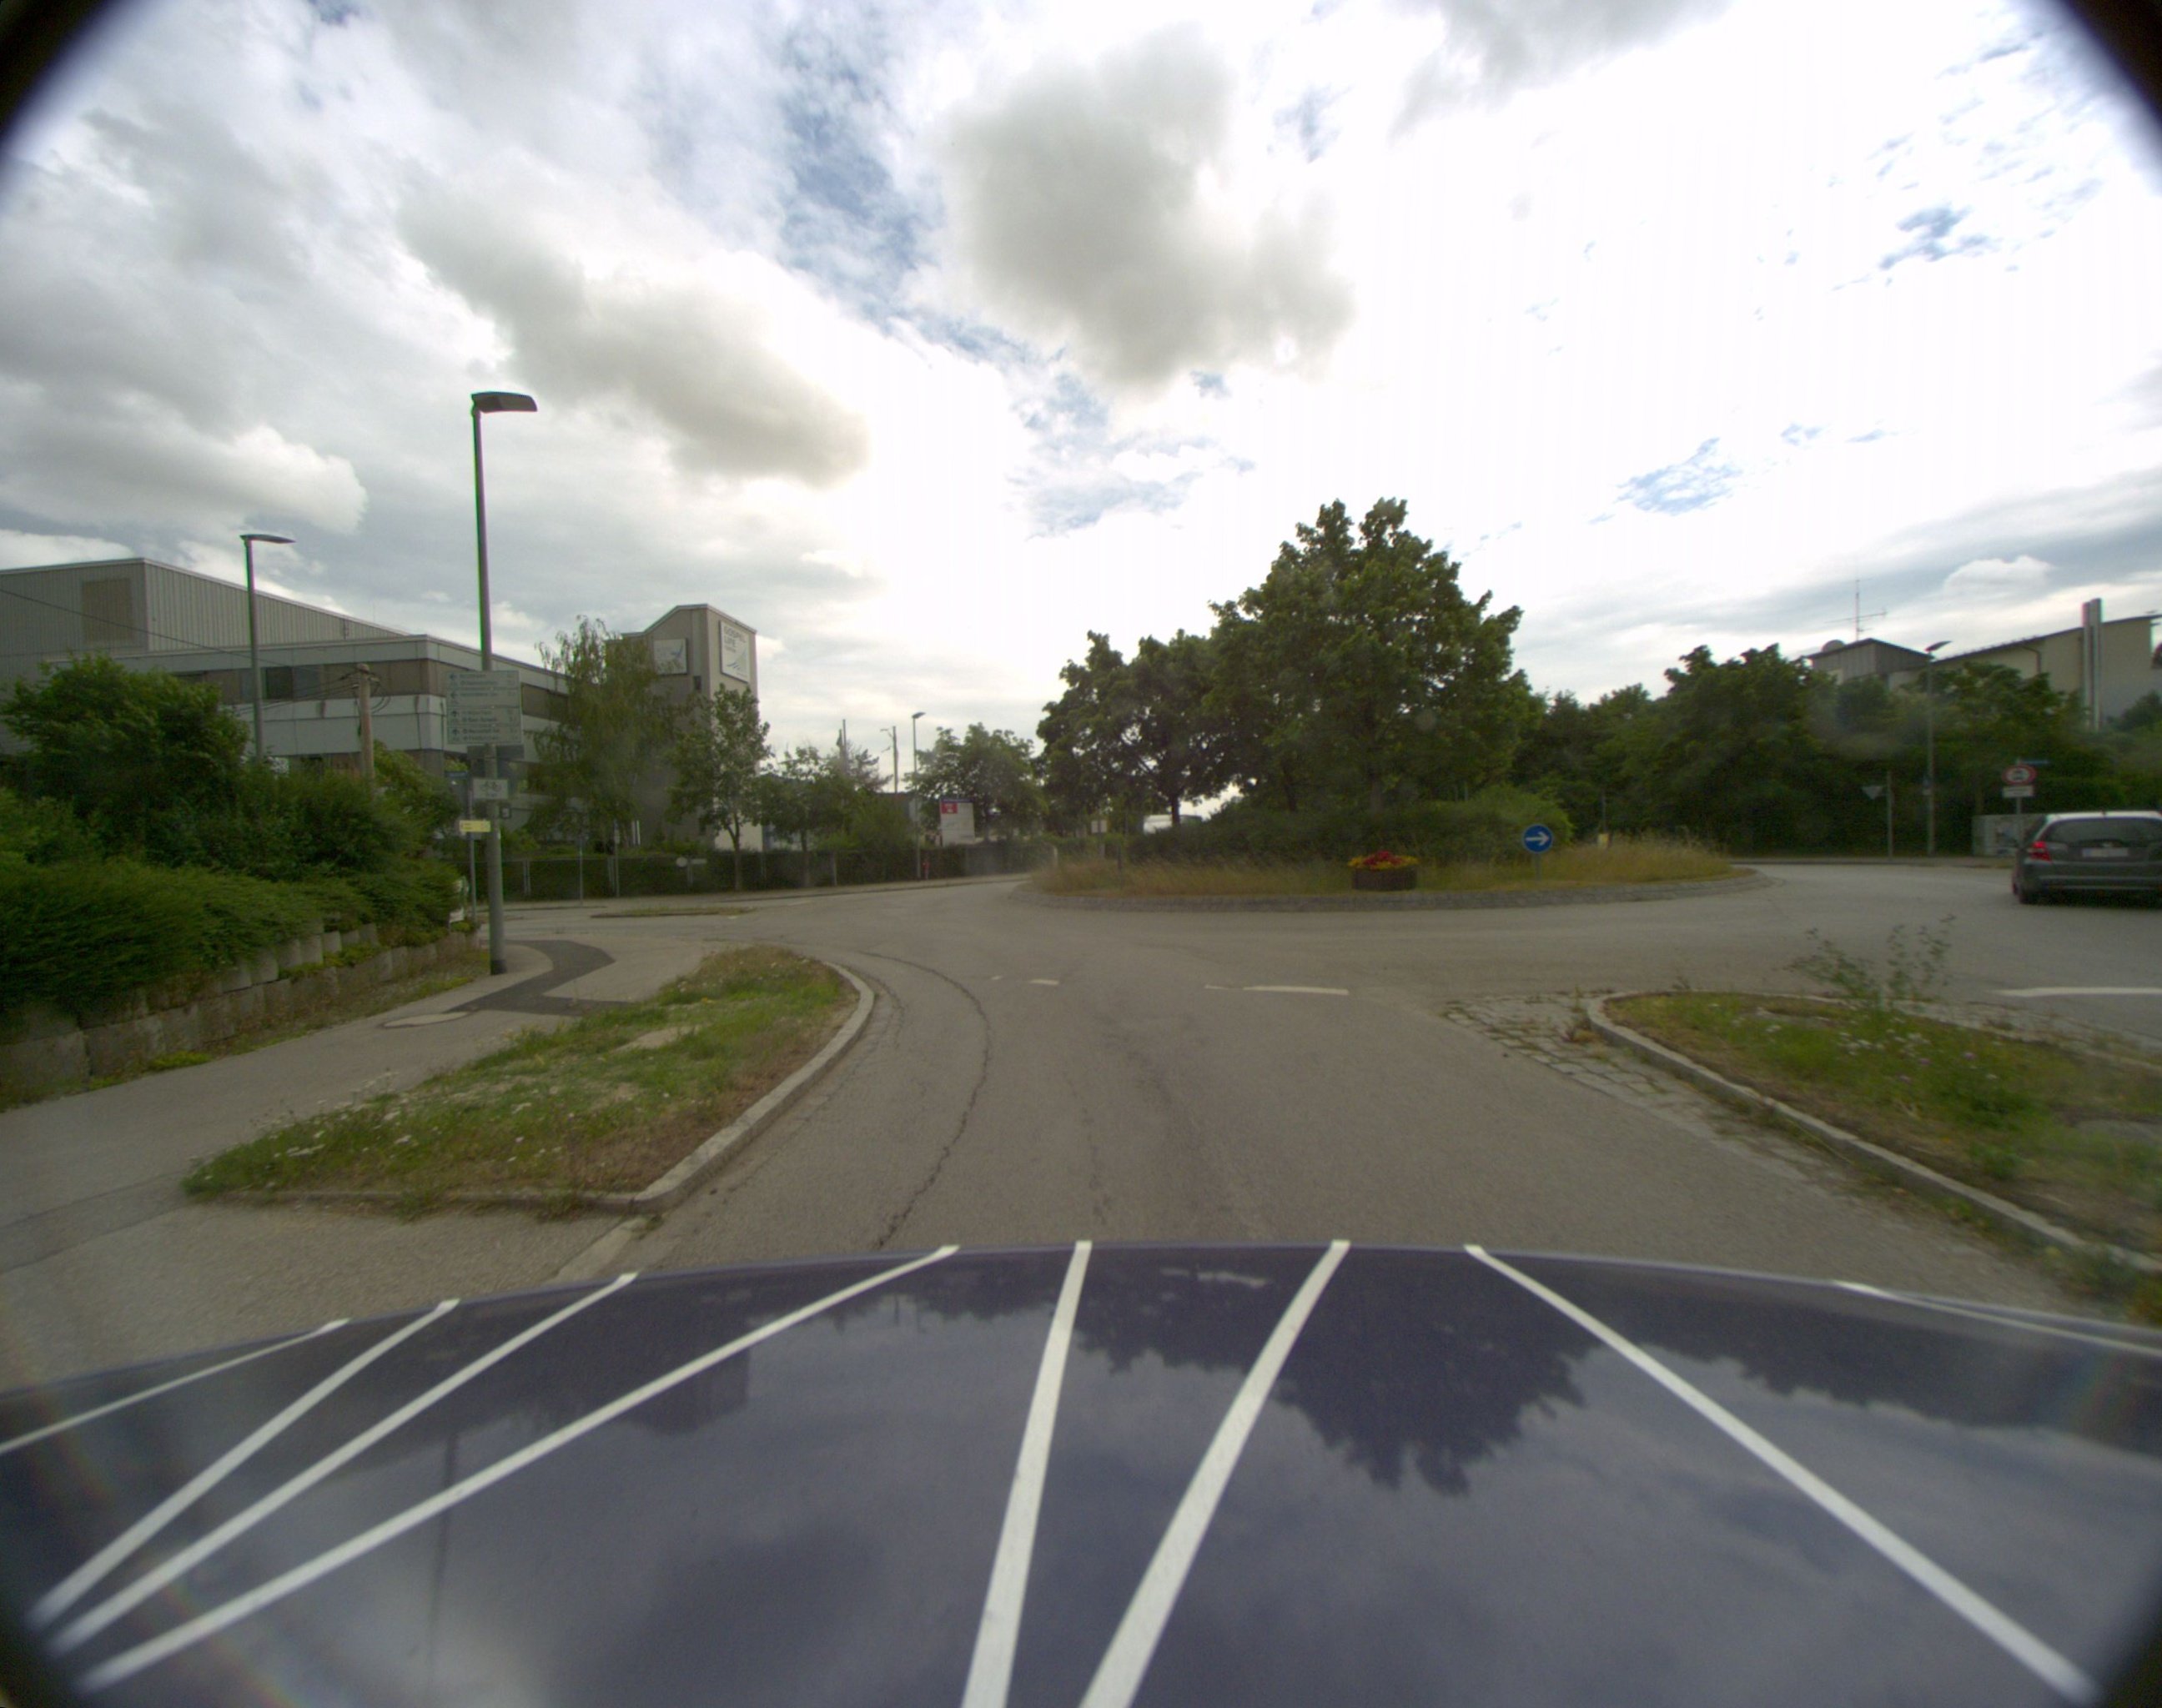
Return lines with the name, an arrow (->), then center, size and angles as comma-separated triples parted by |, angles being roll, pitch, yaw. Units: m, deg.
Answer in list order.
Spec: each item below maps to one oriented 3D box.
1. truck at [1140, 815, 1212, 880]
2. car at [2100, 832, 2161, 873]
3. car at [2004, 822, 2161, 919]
truck -> 5.774, -0.410, 45.065 | 2.611, 3.428, 7.516 | -2, 0, 19
car -> 36.789, -0.113, 24.601 | 4.821, 1.283, 1.559 | -2, 0, 9
car -> 16.903, 0.216, 12.664 | 4.008, 1.415, 1.683 | -1, 1, -43
